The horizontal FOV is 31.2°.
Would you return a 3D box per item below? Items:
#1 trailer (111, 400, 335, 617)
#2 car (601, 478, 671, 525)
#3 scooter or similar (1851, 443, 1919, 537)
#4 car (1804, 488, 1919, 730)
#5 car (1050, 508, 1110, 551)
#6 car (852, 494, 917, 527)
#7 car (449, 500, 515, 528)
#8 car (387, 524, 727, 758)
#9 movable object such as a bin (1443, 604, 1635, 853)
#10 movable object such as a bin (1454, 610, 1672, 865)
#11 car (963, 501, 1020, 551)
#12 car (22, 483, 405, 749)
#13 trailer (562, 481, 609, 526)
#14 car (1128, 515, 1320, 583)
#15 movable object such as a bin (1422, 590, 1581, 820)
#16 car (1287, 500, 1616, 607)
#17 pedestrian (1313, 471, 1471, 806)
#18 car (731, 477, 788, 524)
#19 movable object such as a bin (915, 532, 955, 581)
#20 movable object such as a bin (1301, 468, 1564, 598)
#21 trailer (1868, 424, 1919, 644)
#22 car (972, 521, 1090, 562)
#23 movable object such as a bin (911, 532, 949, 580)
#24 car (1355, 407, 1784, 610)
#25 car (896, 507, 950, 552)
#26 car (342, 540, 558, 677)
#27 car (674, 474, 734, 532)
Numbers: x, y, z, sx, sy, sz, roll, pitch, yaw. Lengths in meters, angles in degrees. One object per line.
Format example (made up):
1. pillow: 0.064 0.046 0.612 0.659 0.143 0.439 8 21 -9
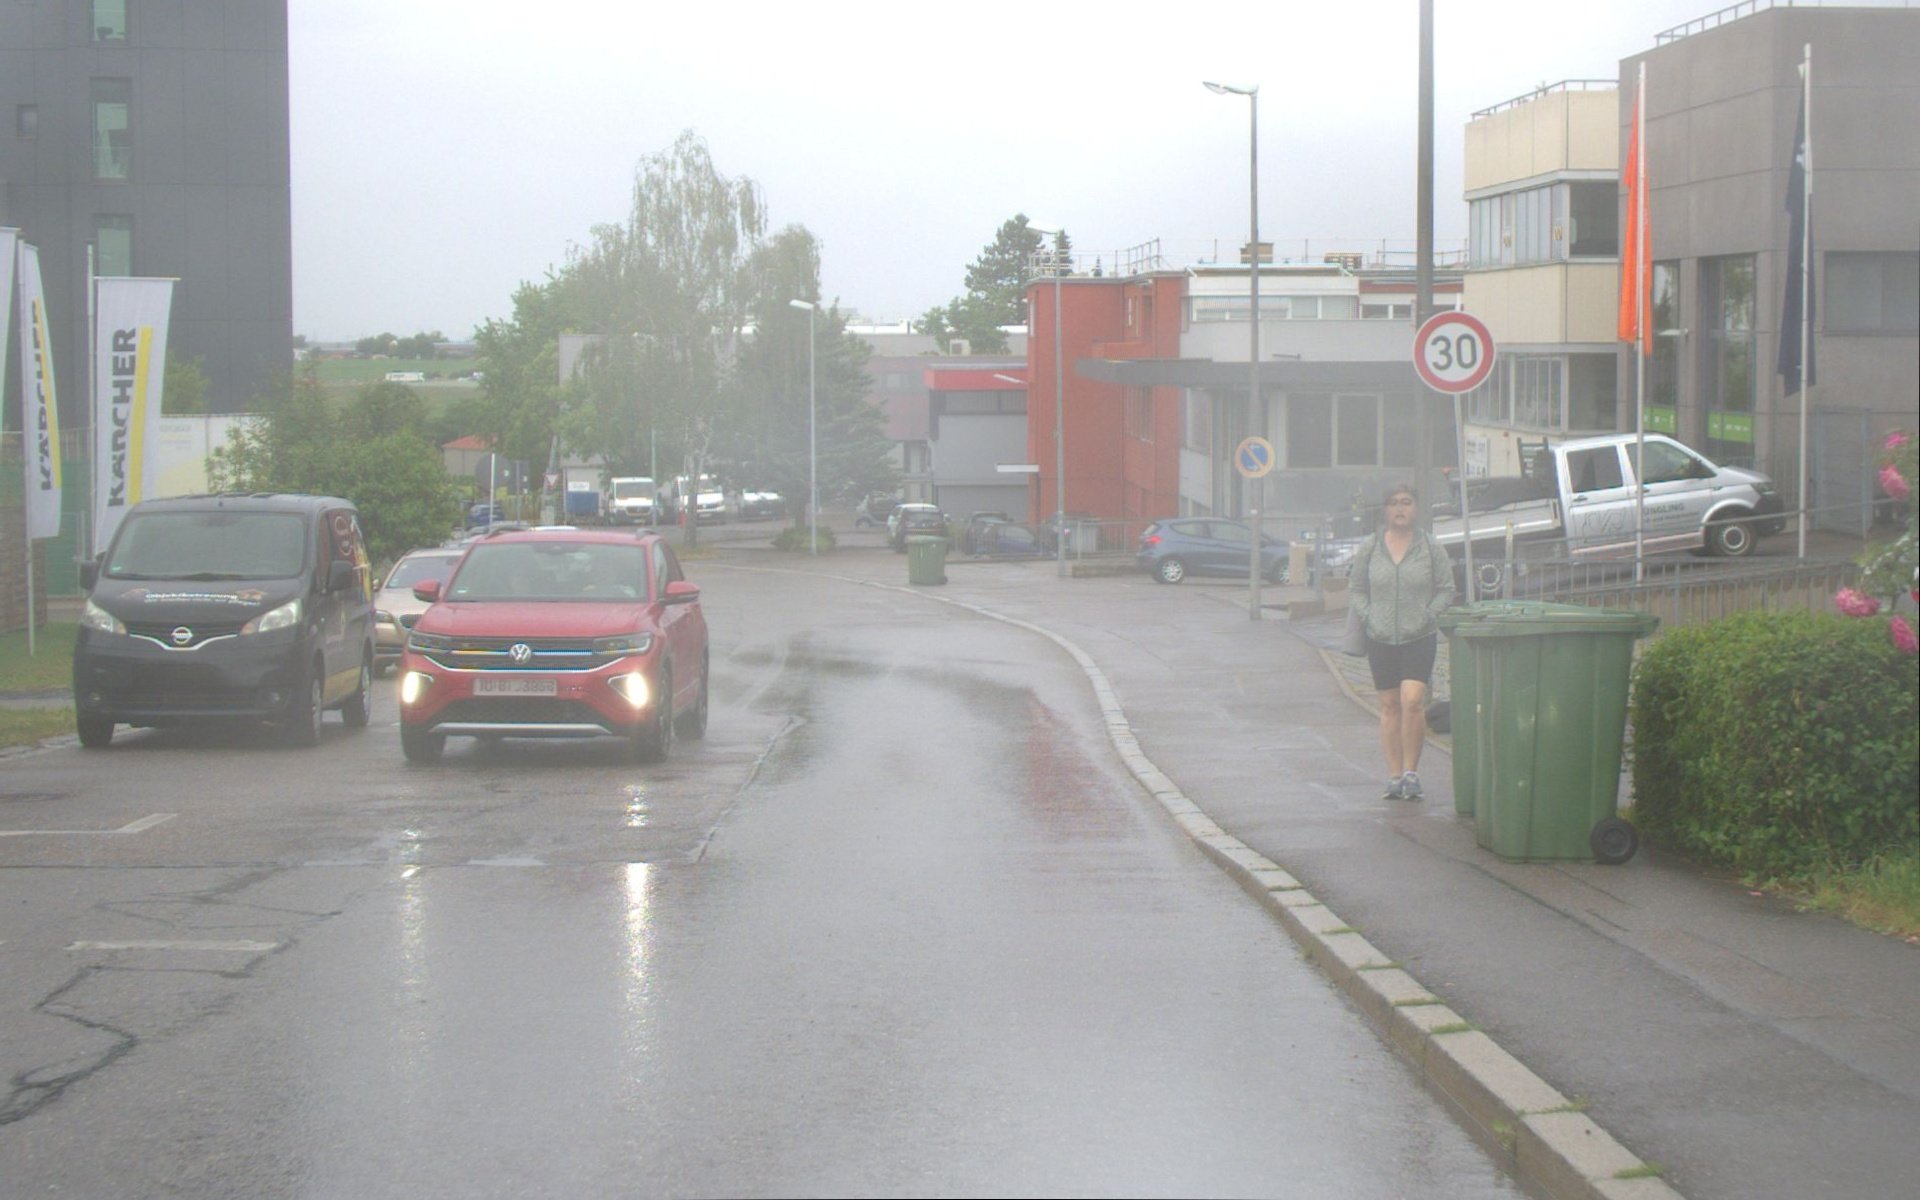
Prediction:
1. trailer: -14.733 -1.798 68.654 4.181 4.188 2.002 0 1 36
2. car: -14.398 -4.351 152.469 2.264 2.007 4.001 -1 1 -18
3. scooter or similar: 13.576 -1.585 49.195 1.064 1.220 2.065 -4 3 1
4. car: 8.128 -0.056 23.476 4.120 1.568 2.004 -3 1 -2
5. car: 4.108 -2.412 118.480 1.729 1.417 4.000 -1 1 -3
6. car: -3.087 -3.657 140.499 2.547 1.347 1.242 -1 2 -7
7. car: -27.441 -4.933 197.451 2.460 1.534 4.000 -1 1 -29
8. car: -2.719 0.243 24.021 1.747 1.503 3.935 0 1 3
9. movable object such as a bin: 2.568 0.560 15.301 0.743 1.063 0.637 0 1 -1
10. movable object such as a bin: 2.544 0.568 14.566 0.771 1.026 0.808 0 1 -1
11. car: 1.061 -2.549 119.256 1.739 1.648 4.000 -1 1 -3
12. car: -5.530 0.064 26.100 1.915 1.825 4.848 0 1 -1
13. trailer: -17.058 -4.371 156.380 1.852 2.006 4.001 -1 2 -10
14. car: 5.650 -1.092 73.936 3.894 1.379 1.821 1 1 -3
15. movable object such as a bin: 2.728 0.513 17.274 0.729 1.109 0.703 0 1 14
16. car: 8.110 -0.795 57.022 5.090 1.608 1.925 -1 2 -3
17. pedestrian: 2.320 0.198 18.531 0.736 1.761 0.808 0 1 -1
18. car: -9.013 -4.458 154.086 2.145 2.007 3.940 -1 1 -9
19. movable object such as a bin: -0.559 -0.988 78.032 0.806 1.089 0.709 -1 2 -7
20. movable object such as a bin: 8.088 -1.154 59.020 4.254 2.103 1.477 -1 2 -1
21. trailer: 11.469 -0.731 37.580 1.887 2.408 4.309 -1 2 -1
22. car: 2.060 -1.723 100.740 3.400 1.159 1.792 -1 2 0
23. movable object such as a bin: -0.685 -0.999 78.675 0.775 1.072 0.584 -1 2 -7
24. car: 8.411 -1.258 47.809 5.298 2.006 2.222 -8 1 -2
25. car: -1.280 -2.415 118.456 1.697 1.470 4.000 -1 1 -3
26. car: -5.958 0.049 40.741 1.956 1.456 5.248 -1 1 -2
27. car: -11.408 -4.308 153.015 2.192 2.451 4.001 -1 1 -10
